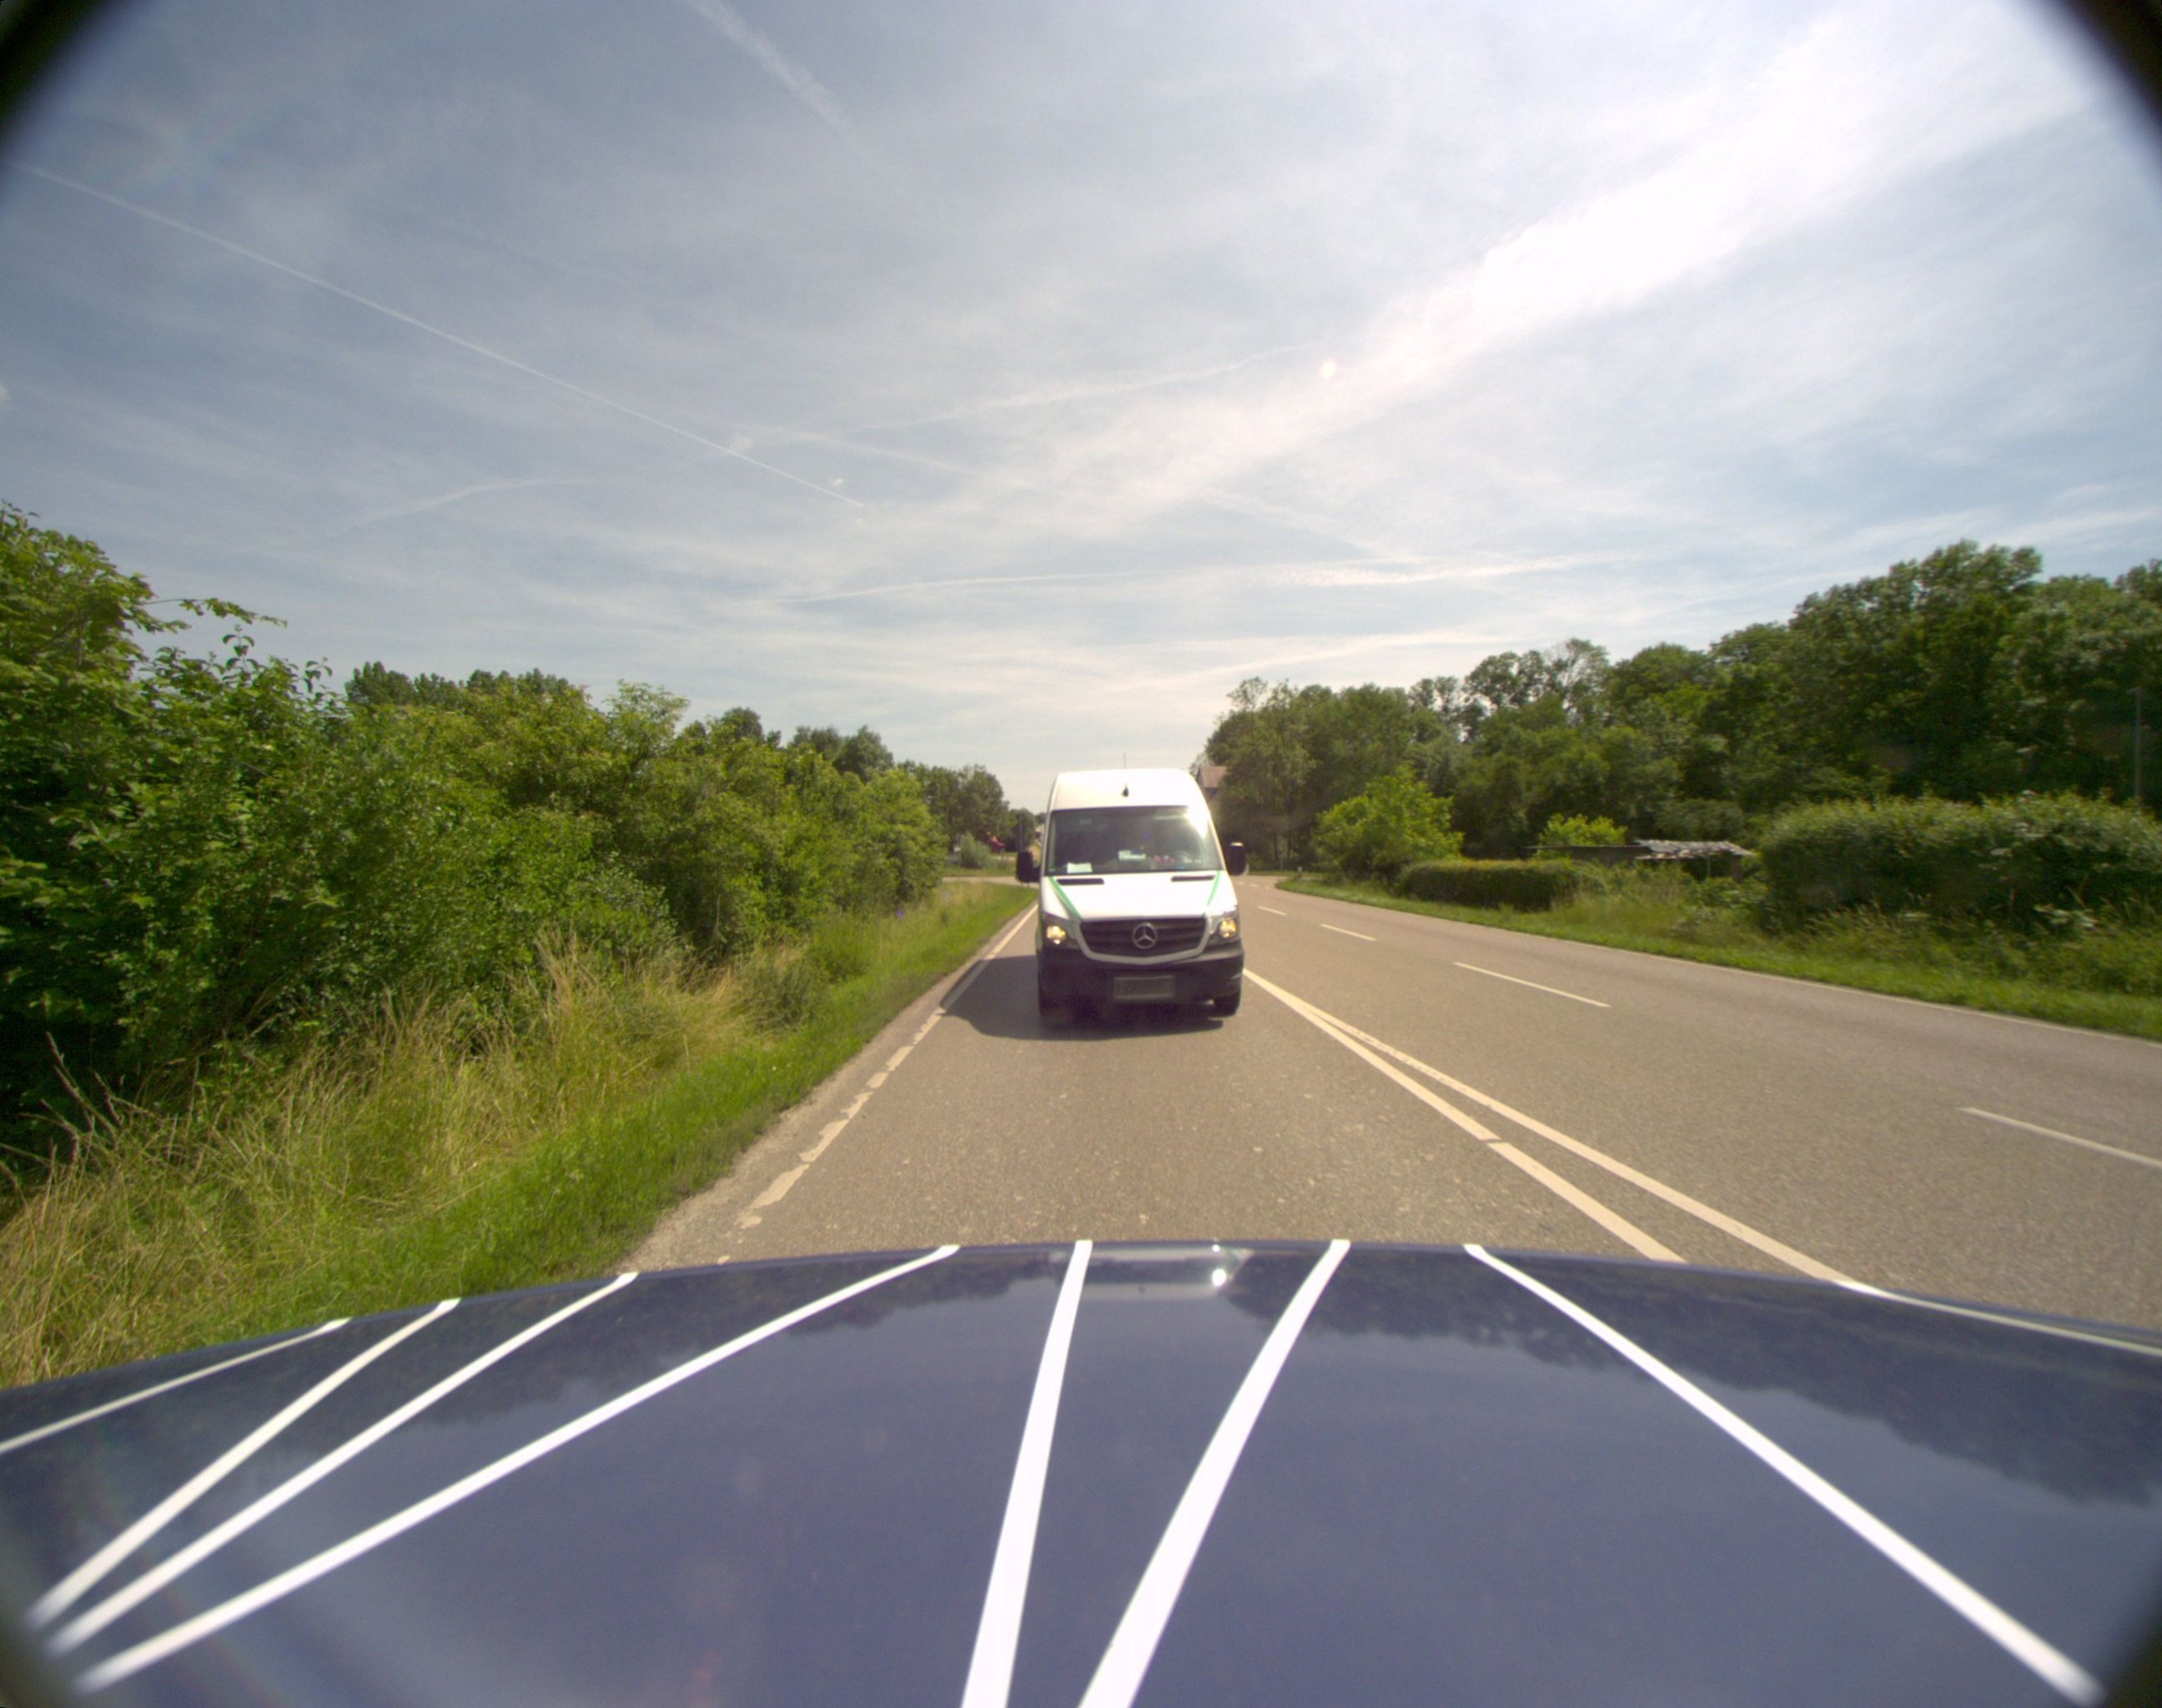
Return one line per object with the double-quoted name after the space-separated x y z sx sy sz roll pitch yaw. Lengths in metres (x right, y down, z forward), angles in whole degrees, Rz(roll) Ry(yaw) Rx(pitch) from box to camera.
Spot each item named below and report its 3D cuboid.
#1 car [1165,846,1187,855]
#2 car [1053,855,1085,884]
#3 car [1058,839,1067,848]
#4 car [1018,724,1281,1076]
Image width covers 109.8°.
16.259 -0.574 130.318 3.387 1.457 1.609 -2 2 -8 "car"
-0.785 0.897 46.890 1.849 1.692 4.242 0 0 -2 "car"
-4.431 -2.588 182.373 1.999 2.166 3.998 -2 1 -1 "car"
0.446 0.343 8.695 1.961 2.655 5.679 -2 0 -2 "car"
